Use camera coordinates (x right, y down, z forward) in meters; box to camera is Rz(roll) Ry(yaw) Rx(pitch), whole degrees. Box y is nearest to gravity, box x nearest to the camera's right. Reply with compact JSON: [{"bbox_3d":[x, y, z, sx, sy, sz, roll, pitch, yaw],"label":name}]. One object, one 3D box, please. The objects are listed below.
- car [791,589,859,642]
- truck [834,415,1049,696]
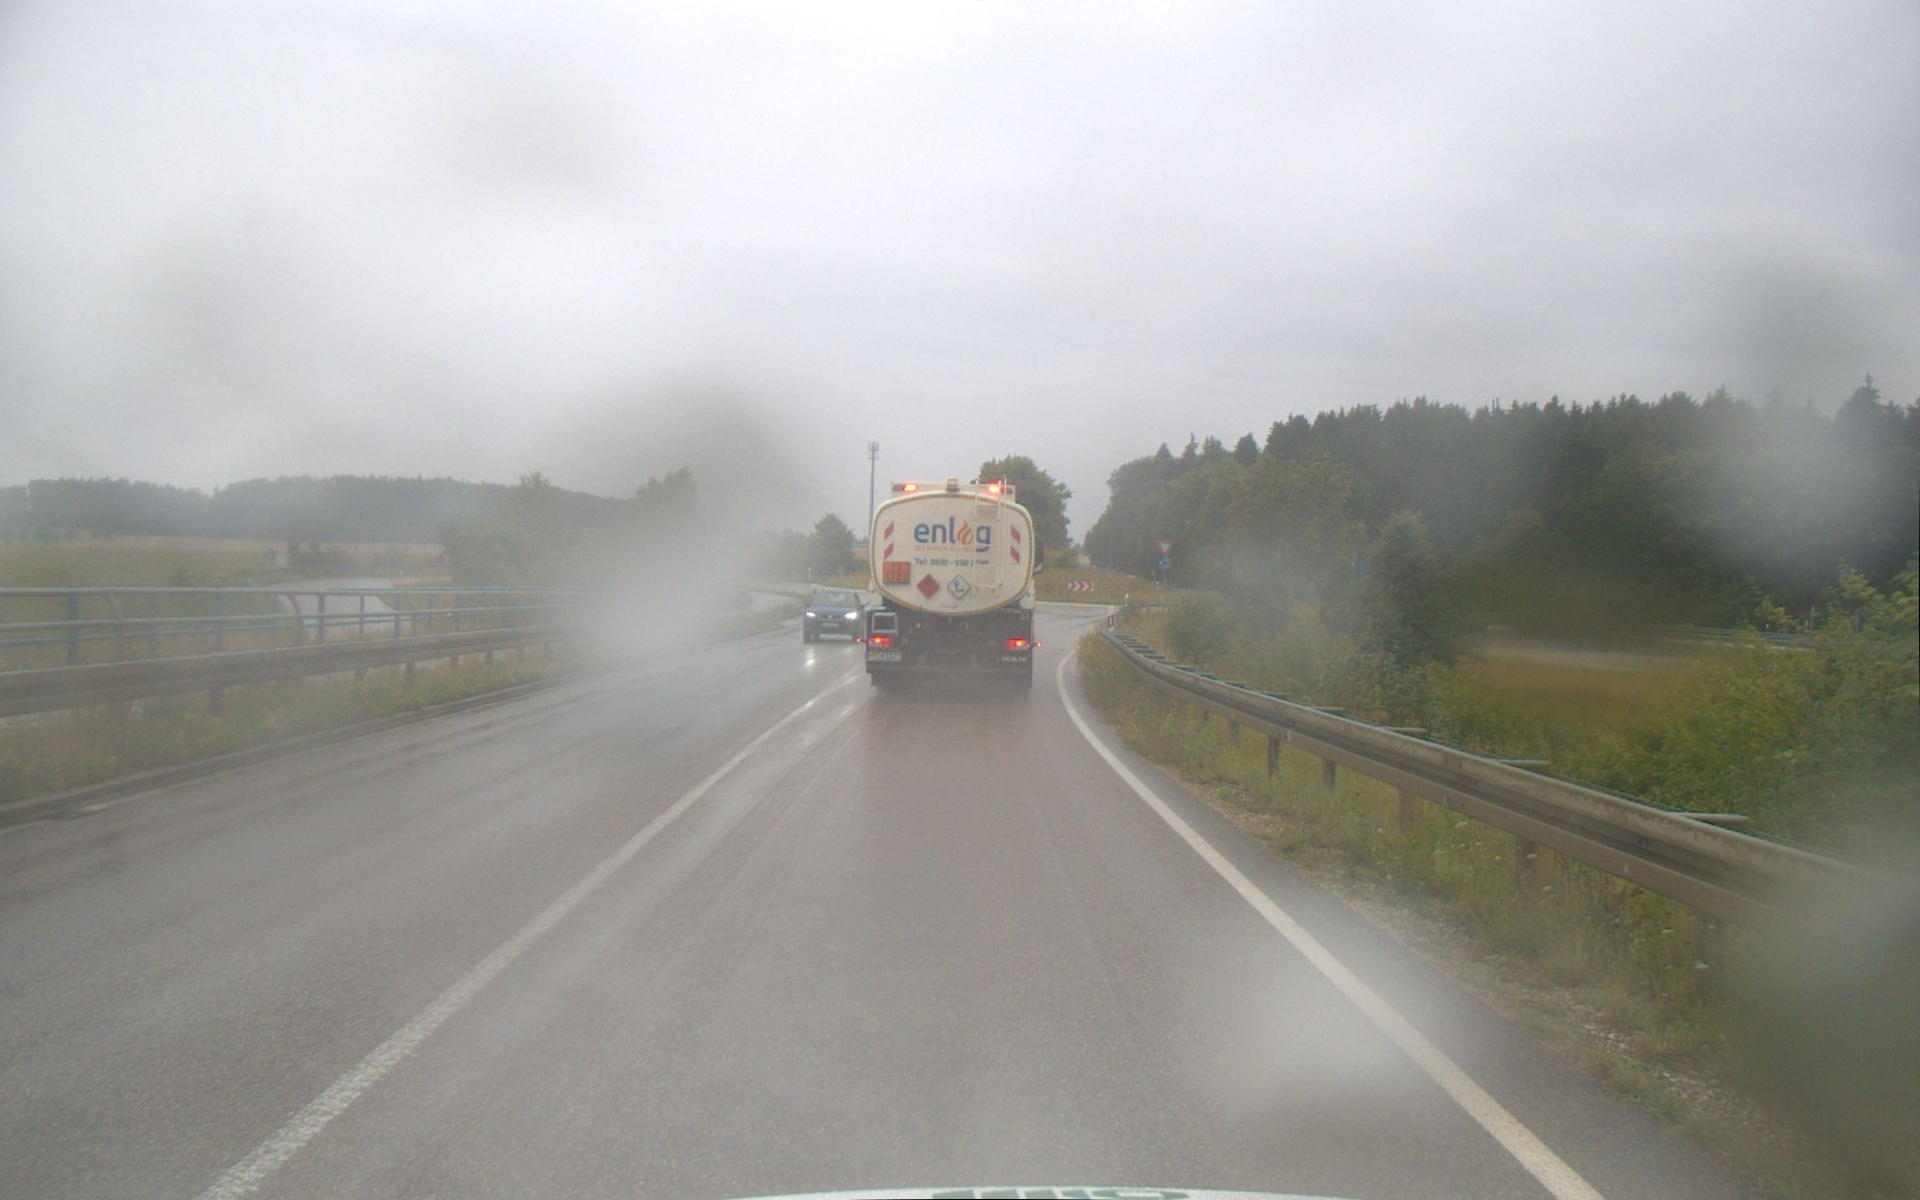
[{"bbox_3d":[-4.135,0.453,51.227,1.744,1.552,4.168,1,0,0],"label":"car"},{"bbox_3d":[-0.125,-0.691,27.693,2.976,3.919,8.825,1,1,2],"label":"truck"}]
